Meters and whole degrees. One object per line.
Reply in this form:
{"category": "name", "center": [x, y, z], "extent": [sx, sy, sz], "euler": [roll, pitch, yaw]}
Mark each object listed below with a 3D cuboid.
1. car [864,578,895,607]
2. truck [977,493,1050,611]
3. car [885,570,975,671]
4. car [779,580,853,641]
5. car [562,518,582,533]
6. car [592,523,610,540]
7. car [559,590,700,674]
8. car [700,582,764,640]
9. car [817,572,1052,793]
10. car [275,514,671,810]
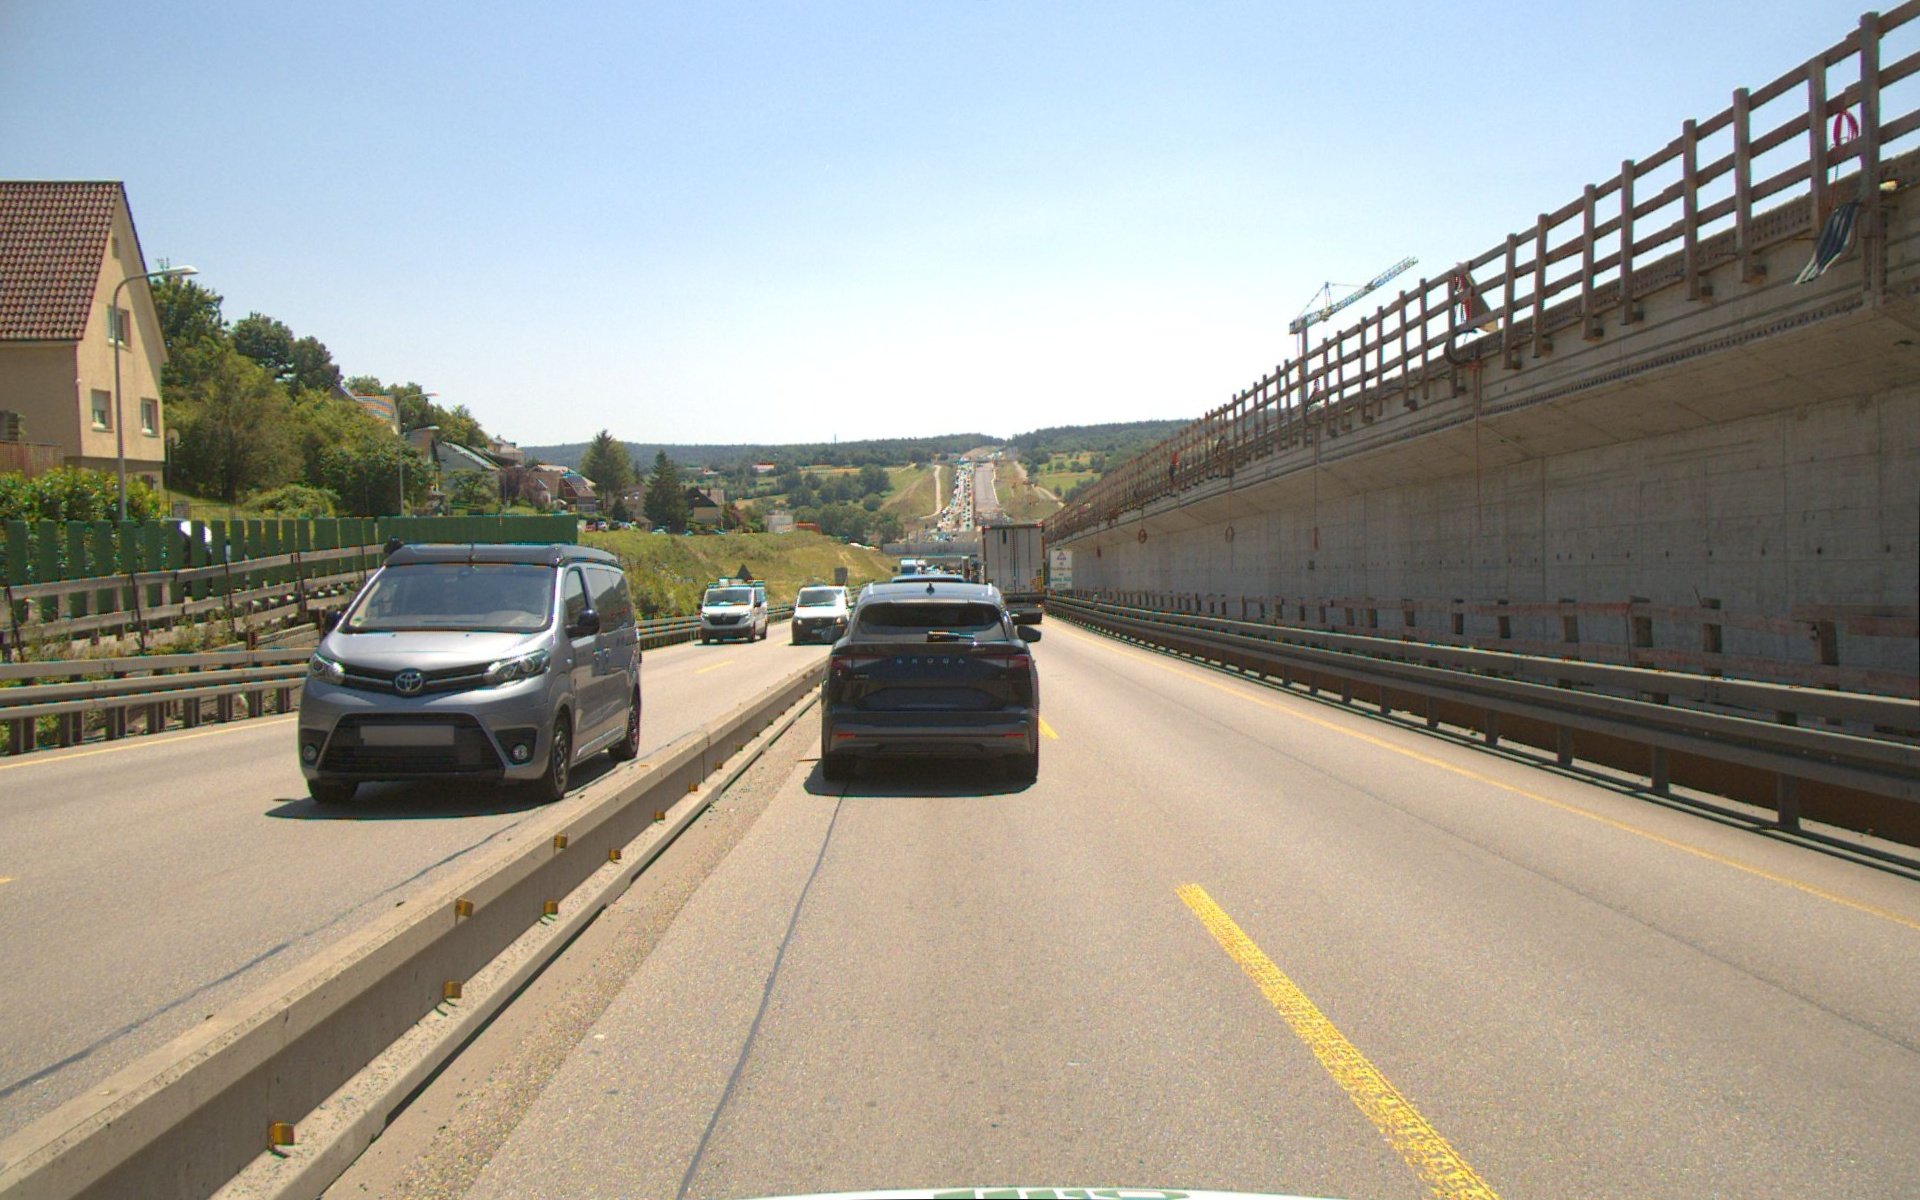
{"category": "car", "center": [-4.748, -0.469, 97.905], "extent": [1.738, 1.662, 4.099], "euler": [-1, 0, -1]}
{"category": "truck", "center": [2.222, -1.917, 72.889], "extent": [2.787, 4.696, 11.810], "euler": [-1, 0, 0]}
{"category": "car", "center": [-0.649, 0.390, 33.501], "extent": [1.714, 1.928, 3.753], "euler": [0, 0, -3]}
{"category": "car", "center": [-4.766, 0.368, 55.452], "extent": [2.113, 1.939, 5.324], "euler": [0, 0, -1]}
{"category": "car", "center": [-41.604, -7.981, 177.384], "extent": [1.958, 1.343, 3.989], "euler": [2, 0, -11]}
{"category": "car", "center": [-42.765, -8.142, 197.181], "extent": [1.890, 1.758, 3.990], "euler": [-2, 0, -10]}
{"category": "car", "center": [-6.348, 0.603, 32.255], "extent": [1.953, 1.467, 4.362], "euler": [2, 0, -2]}
{"category": "car", "center": [-8.091, 0.367, 59.151], "extent": [1.788, 1.959, 5.240], "euler": [0, 0, -3]}
{"category": "car", "center": [-0.233, 0.624, 14.516], "extent": [1.747, 1.625, 3.754], "euler": [-2, 0, -1]}
{"category": "car", "center": [-3.867, 0.455, 14.148], "extent": [1.953, 2.049, 4.968], "euler": [-1, 0, -1]}
